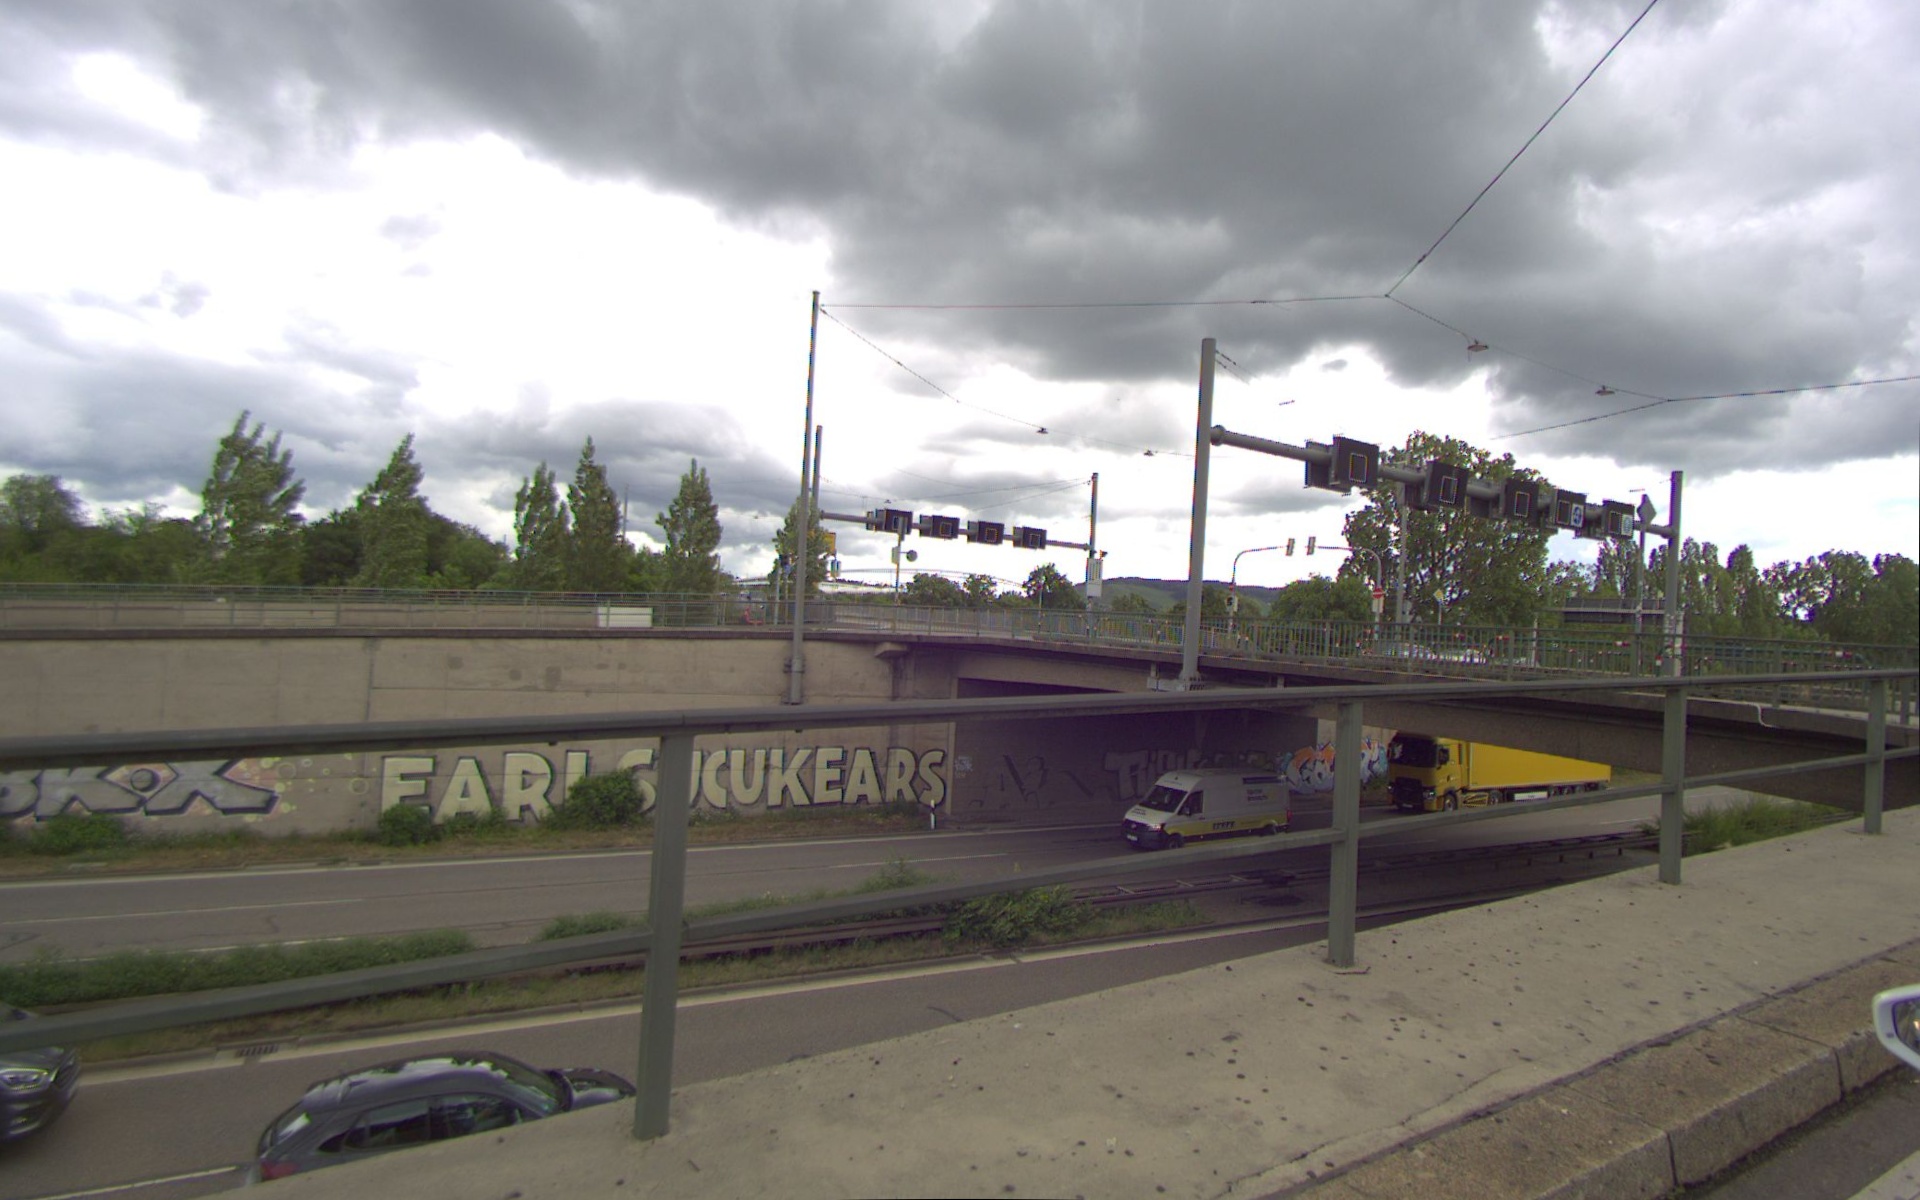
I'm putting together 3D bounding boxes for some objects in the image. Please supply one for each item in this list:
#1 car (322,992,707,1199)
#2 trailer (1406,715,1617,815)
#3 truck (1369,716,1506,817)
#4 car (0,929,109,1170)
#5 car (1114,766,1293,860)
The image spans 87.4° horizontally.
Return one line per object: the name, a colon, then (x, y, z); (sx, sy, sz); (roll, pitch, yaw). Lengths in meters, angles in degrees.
car: (-5.053, 5.799, 11.586); (3.791, 1.492, 1.644); (4, -2, -30)
trailer: (28.279, 8.194, 51.043); (13.532, 4.317, 3.223); (5, -3, -32)
truck: (22.537, 7.719, 47.393); (5.740, 4.236, 3.224); (4, -3, -32)
car: (-12.896, 5.110, 10.870); (5.191, 2.040, 1.985); (4, -2, -29)
car: (8.543, 7.253, 34.866); (6.641, 2.661, 1.983); (5, -5, -32)
